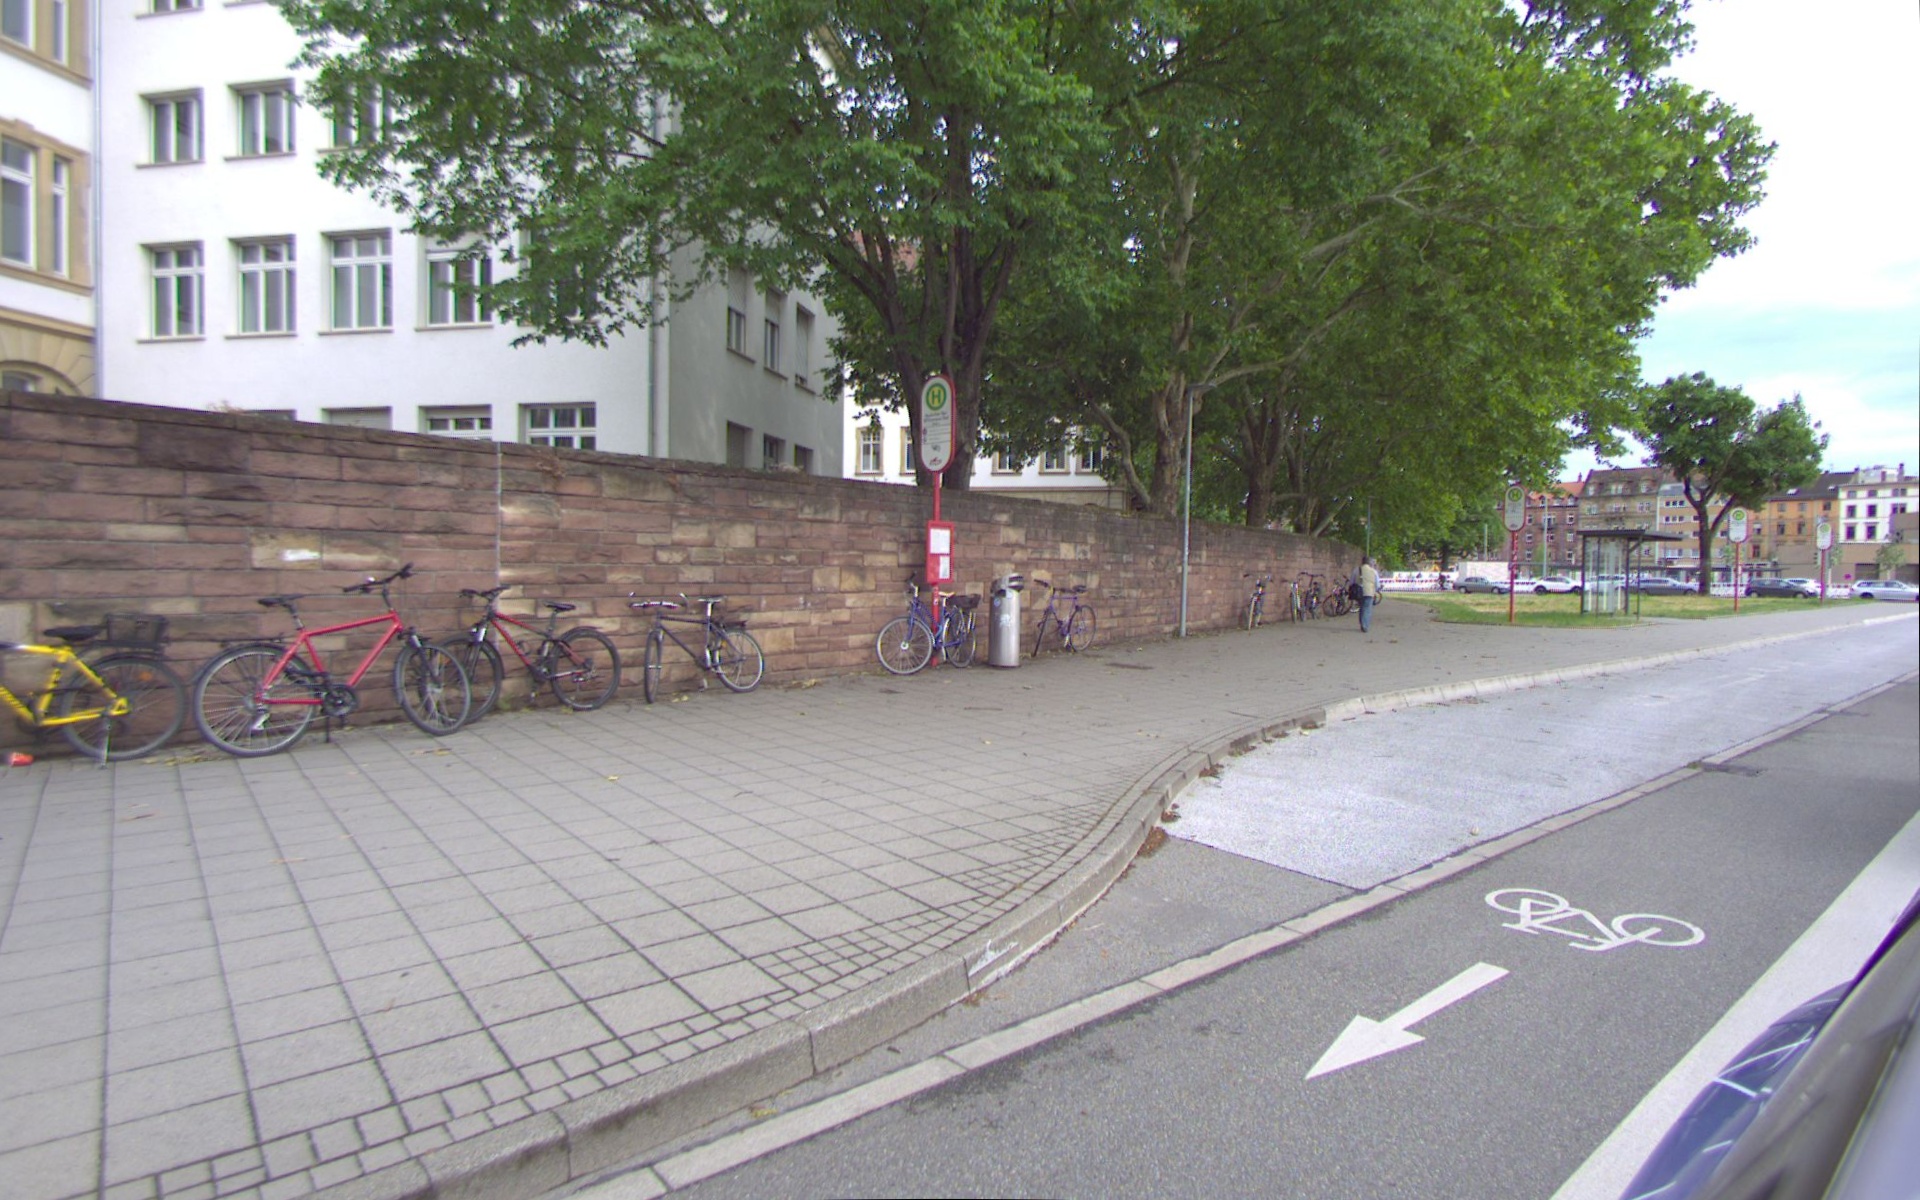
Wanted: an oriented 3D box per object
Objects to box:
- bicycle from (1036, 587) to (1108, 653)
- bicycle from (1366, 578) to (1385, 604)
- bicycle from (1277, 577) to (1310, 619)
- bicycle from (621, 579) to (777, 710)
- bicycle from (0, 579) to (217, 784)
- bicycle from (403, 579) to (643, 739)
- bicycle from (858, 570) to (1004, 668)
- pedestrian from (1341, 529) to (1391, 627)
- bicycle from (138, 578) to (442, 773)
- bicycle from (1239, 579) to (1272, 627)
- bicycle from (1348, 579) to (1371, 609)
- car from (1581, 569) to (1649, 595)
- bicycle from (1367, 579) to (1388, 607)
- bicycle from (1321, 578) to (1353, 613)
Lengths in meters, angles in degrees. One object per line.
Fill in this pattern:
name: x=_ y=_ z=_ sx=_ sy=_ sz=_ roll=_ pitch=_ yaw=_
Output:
bicycle: x=1.673 y=0.276 z=14.879 sx=0.290 sy=0.896 sz=1.590 roll=2 pitch=2 yaw=36
bicycle: x=15.873 y=-0.342 z=38.631 sx=0.555 sy=0.951 sz=1.342 roll=2 pitch=2 yaw=26
bicycle: x=8.149 y=-0.061 z=24.697 sx=0.477 sy=0.951 sz=1.882 roll=2 pitch=2 yaw=27
bicycle: x=-2.481 y=0.382 z=9.786 sx=0.336 sy=1.158 sz=1.658 roll=0 pitch=0 yaw=33
bicycle: x=-5.549 y=0.461 z=5.952 sx=0.383 sy=1.158 sz=1.922 roll=0 pitch=1 yaw=29
bicycle: x=-3.473 y=0.411 z=8.230 sx=0.336 sy=1.158 sz=1.919 roll=0 pitch=1 yaw=33
bicycle: x=-0.309 y=0.186 z=12.258 sx=0.476 sy=1.089 sz=2.051 roll=2 pitch=3 yaw=42
pedestrian: x=8.717 y=-0.487 z=21.732 sx=0.778 sy=2.037 sz=0.879 roll=4 pitch=4 yaw=32
bicycle: x=-4.510 y=0.437 z=7.002 sx=0.381 sy=1.158 sz=1.930 roll=0 pitch=1 yaw=18
bicycle: x=6.279 y=0.050 z=21.452 sx=0.361 sy=0.951 sz=1.626 roll=2 pitch=2 yaw=27
bicycle: x=13.417 y=-0.217 z=33.986 sx=0.563 sy=0.951 sz=1.752 roll=2 pitch=2 yaw=26
car: x=52.596 y=-1.441 z=81.340 sx=1.968 sy=2.039 sz=4.273 roll=-1 pitch=1 yaw=-45
bicycle: x=17.522 y=-0.301 z=42.494 sx=0.686 sy=1.098 sz=1.639 roll=2 pitch=2 yaw=26
bicycle: x=10.915 y=-0.136 z=29.239 sx=0.648 sy=0.951 sz=1.939 roll=2 pitch=2 yaw=27
